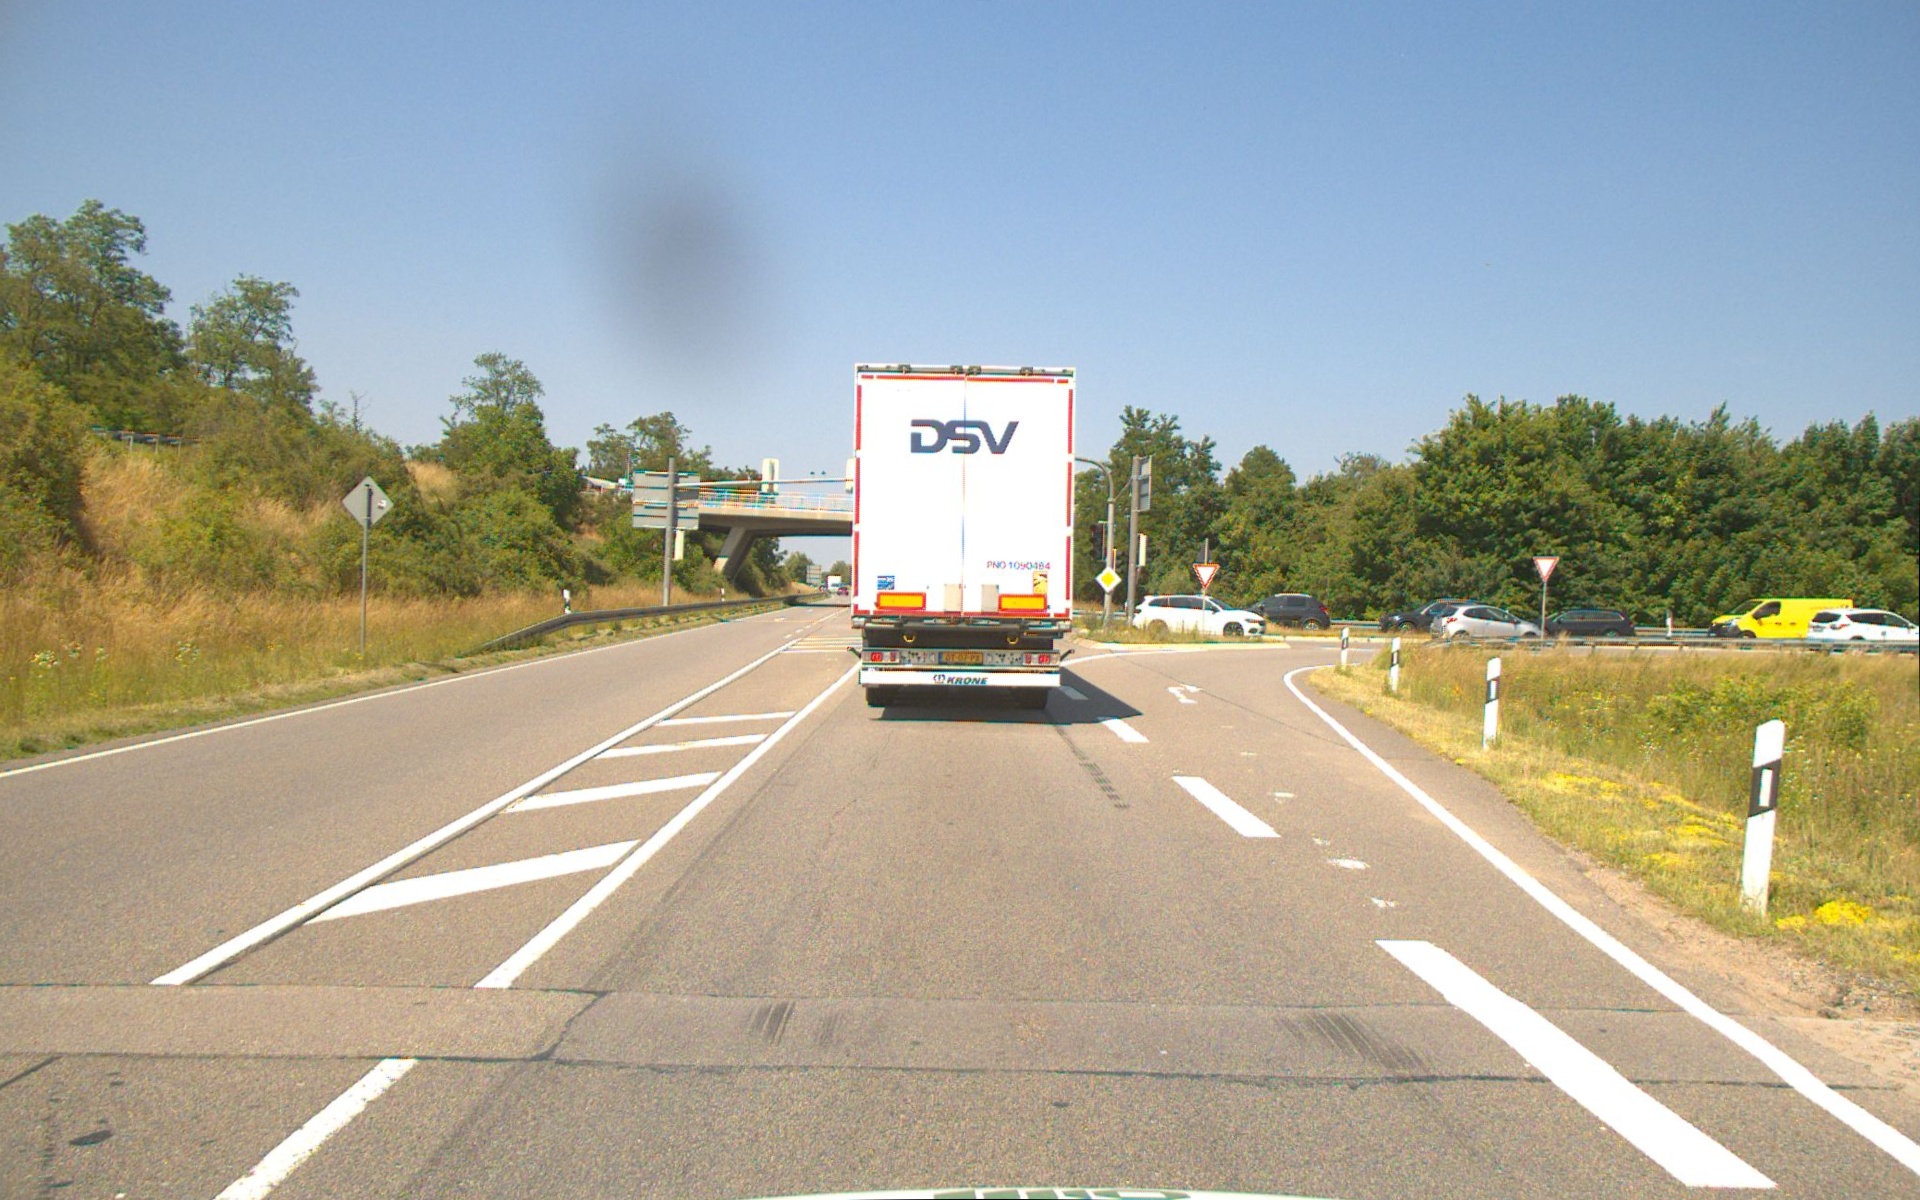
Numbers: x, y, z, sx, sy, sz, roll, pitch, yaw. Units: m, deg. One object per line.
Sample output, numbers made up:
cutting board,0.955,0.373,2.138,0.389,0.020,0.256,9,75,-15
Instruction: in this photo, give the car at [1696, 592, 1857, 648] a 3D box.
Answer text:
car,31.518,0.771,63.935,5.212,2.049,2.000,1,0,1

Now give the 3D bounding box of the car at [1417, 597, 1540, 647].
car,17.584,0.753,56.146,3.608,1.594,1.738,1,0,-4

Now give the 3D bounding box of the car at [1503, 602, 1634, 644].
car,24.124,0.902,65.714,4.583,1.540,1.854,1,0,7

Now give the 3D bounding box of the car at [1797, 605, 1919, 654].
car,31.633,1.020,57.410,4.384,1.594,1.736,1,0,-8

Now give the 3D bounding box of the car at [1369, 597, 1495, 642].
car,18.309,0.757,64.304,4.393,1.626,1.768,1,0,2

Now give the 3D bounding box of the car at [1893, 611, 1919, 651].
car,38.928,1.229,64.024,4.585,1.540,1.854,1,0,2

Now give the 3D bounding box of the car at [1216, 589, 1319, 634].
car,12.289,0.461,66.325,3.901,1.668,1.842,1,0,5

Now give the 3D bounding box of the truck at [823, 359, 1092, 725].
truck,-0.083,-0.650,23.317,2.927,4.011,9.874,1,0,-1

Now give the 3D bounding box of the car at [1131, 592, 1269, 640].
car,8.139,0.527,56.113,4.377,1.594,1.739,0,0,22
